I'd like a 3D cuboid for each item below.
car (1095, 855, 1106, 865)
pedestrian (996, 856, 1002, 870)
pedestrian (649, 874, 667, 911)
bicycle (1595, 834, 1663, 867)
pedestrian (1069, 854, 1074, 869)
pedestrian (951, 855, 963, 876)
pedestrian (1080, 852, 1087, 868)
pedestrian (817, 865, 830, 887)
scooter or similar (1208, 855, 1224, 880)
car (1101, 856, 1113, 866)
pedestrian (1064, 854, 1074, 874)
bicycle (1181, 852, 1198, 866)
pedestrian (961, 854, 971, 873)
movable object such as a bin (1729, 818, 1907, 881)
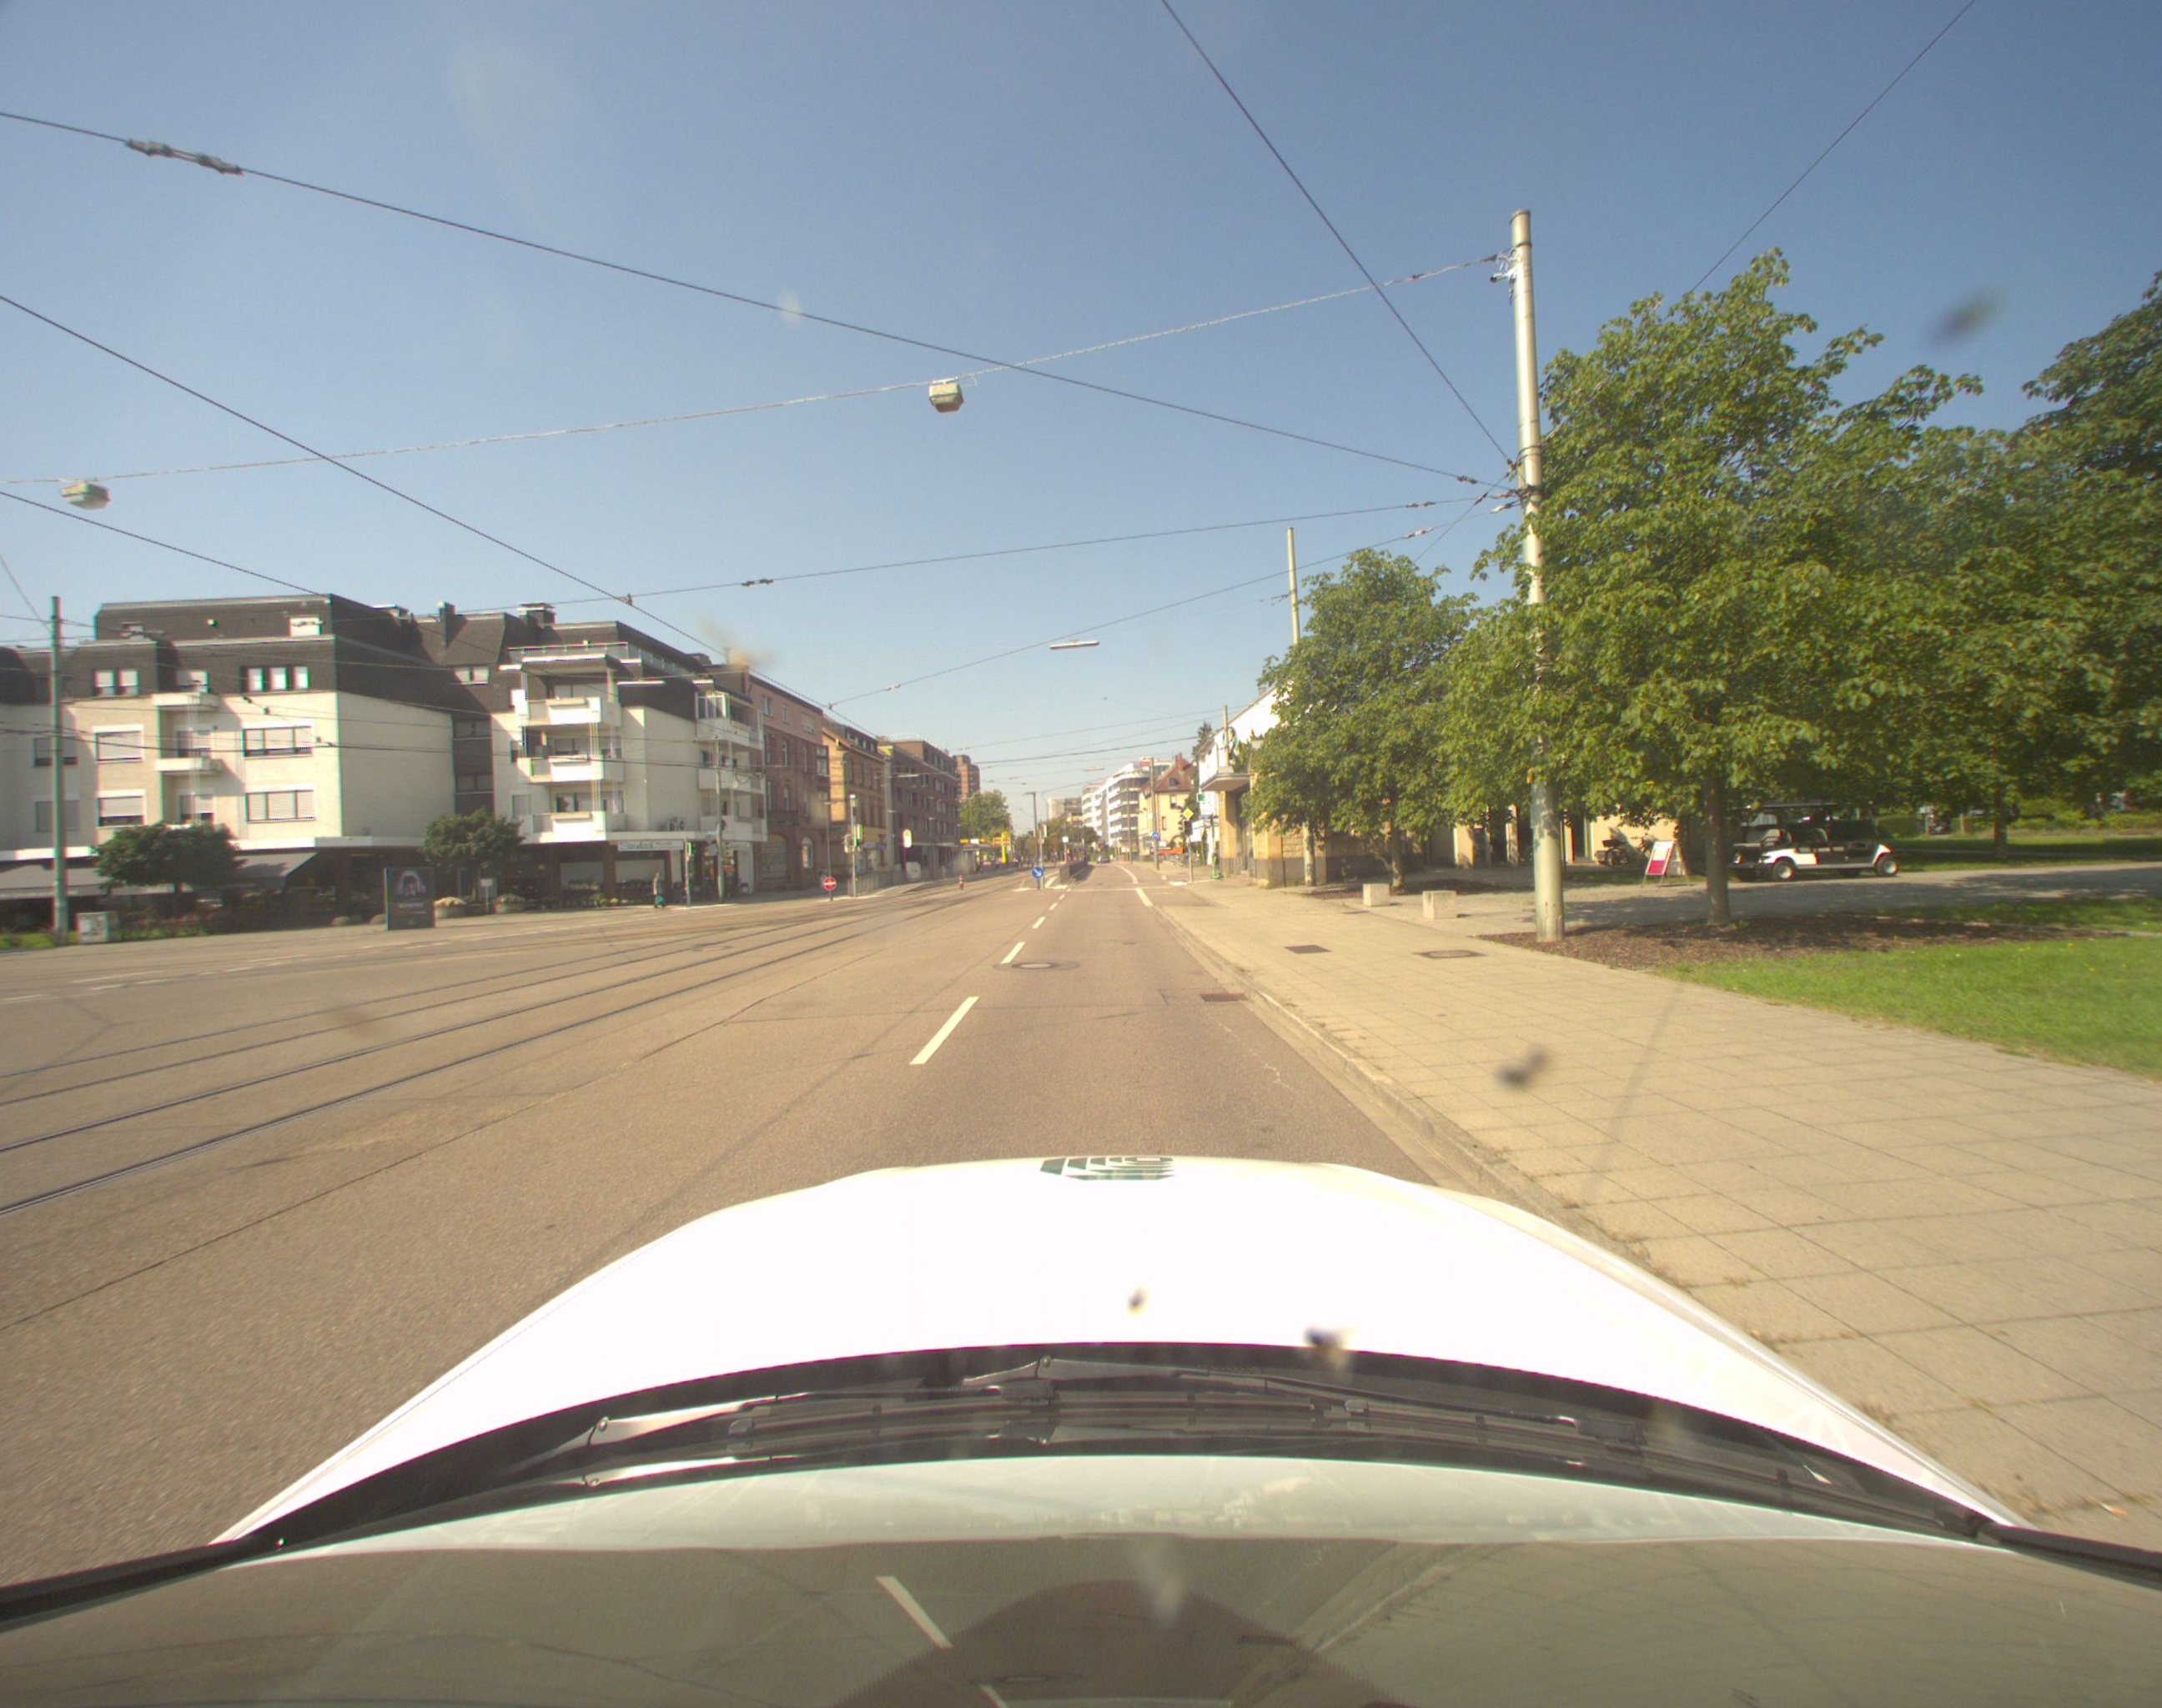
[{"bbox_3d":[4.023,1.137,167.706,2.003,1.859,4.003,-5,0,3],"label":"car"},{"bbox_3d":[-9.227,0.998,91.806,0.531,1.530,0.700,-4,-1,-5],"label":"pedestrian"},{"bbox_3d":[-20.520,1.879,39.495,0.602,1.745,0.560,-4,-1,-32],"label":"pedestrian"},{"bbox_3d":[17.765,-0.113,26.413,1.897,0.980,0.427,-2,0,1],"label":"bicycle"},{"bbox_3d":[-1.113,0.830,95.360,0.535,1.703,0.582,-4,-1,-1],"label":"pedestrian"},{"bbox_3d":[-10.762,0.985,70.607,0.705,1.723,0.799,-5,-1,2],"label":"pedestrian"},{"bbox_3d":[0.259,0.650,85.840,0.535,1.703,0.582,-4,-1,-1],"label":"pedestrian"},{"bbox_3d":[-18.866,1.616,59.613,0.479,1.560,0.890,-2,-1,13],"label":"pedestrian"},{"bbox_3d":[6.647,0.659,40.255,0.521,1.133,1.512,-5,0,2],"label":"scooter or similar"},{"bbox_3d":[5.151,1.393,161.609,2.003,1.859,4.003,-5,0,3],"label":"car"},{"bbox_3d":[-1.049,0.884,73.732,0.717,1.703,0.885,-5,-1,2],"label":"pedestrian"},{"bbox_3d":[9.486,0.430,71.292,0.730,1.132,2.834,-6,0,-5],"label":"bicycle"},{"bbox_3d":[-10.883,0.893,77.260,0.705,1.747,0.799,-5,-1,2],"label":"pedestrian"},{"bbox_3d":[17.828,-0.105,19.791,3.095,1.298,1.301,-3,0,0],"label":"movable object such as a bin"}]
